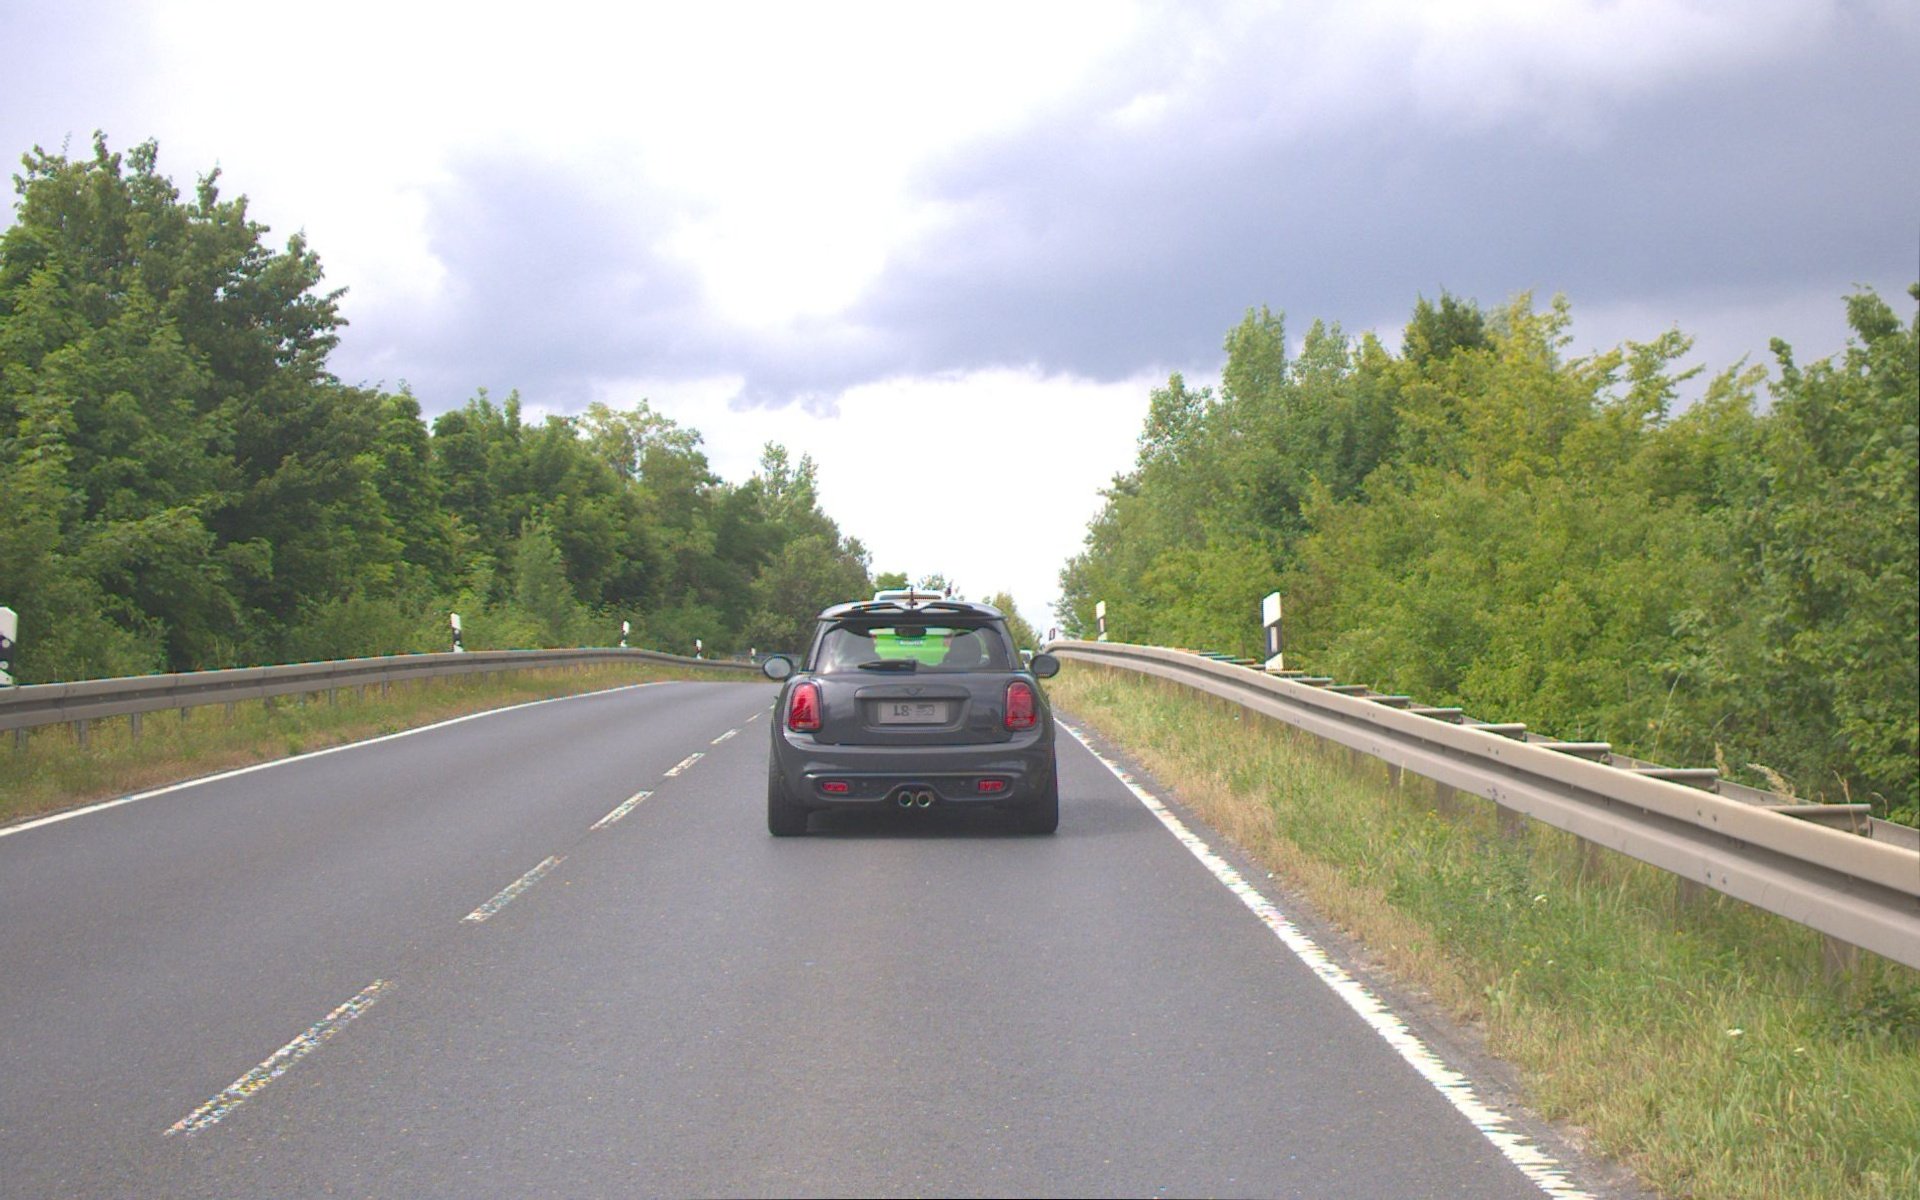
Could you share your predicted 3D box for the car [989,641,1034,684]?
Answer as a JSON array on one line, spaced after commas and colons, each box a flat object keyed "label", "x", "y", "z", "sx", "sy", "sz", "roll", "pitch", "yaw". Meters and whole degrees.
[{"label": "car", "x": 2.570, "y": 3.083, "z": 169.811, "sx": 1.994, "sy": 2.007, "sz": 3.999, "roll": 0, "pitch": 0, "yaw": 4}]

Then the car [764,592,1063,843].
[{"label": "car", "x": -0.256, "y": 0.692, "z": 21.996, "sx": 1.732, "sy": 1.451, "sz": 4.000, "roll": 0, "pitch": 0, "yaw": 0}]

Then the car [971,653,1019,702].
[{"label": "car", "x": 1.519, "y": 3.303, "z": 147.196, "sx": 1.993, "sy": 2.007, "sz": 4.000, "roll": 0, "pitch": 0, "yaw": 1}]

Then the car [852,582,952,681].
[{"label": "car", "x": -1.210, "y": 0.654, "z": 73.376, "sx": 2.022, "sy": 2.006, "sz": 4.000, "roll": -1, "pitch": 0, "yaw": 0}]
